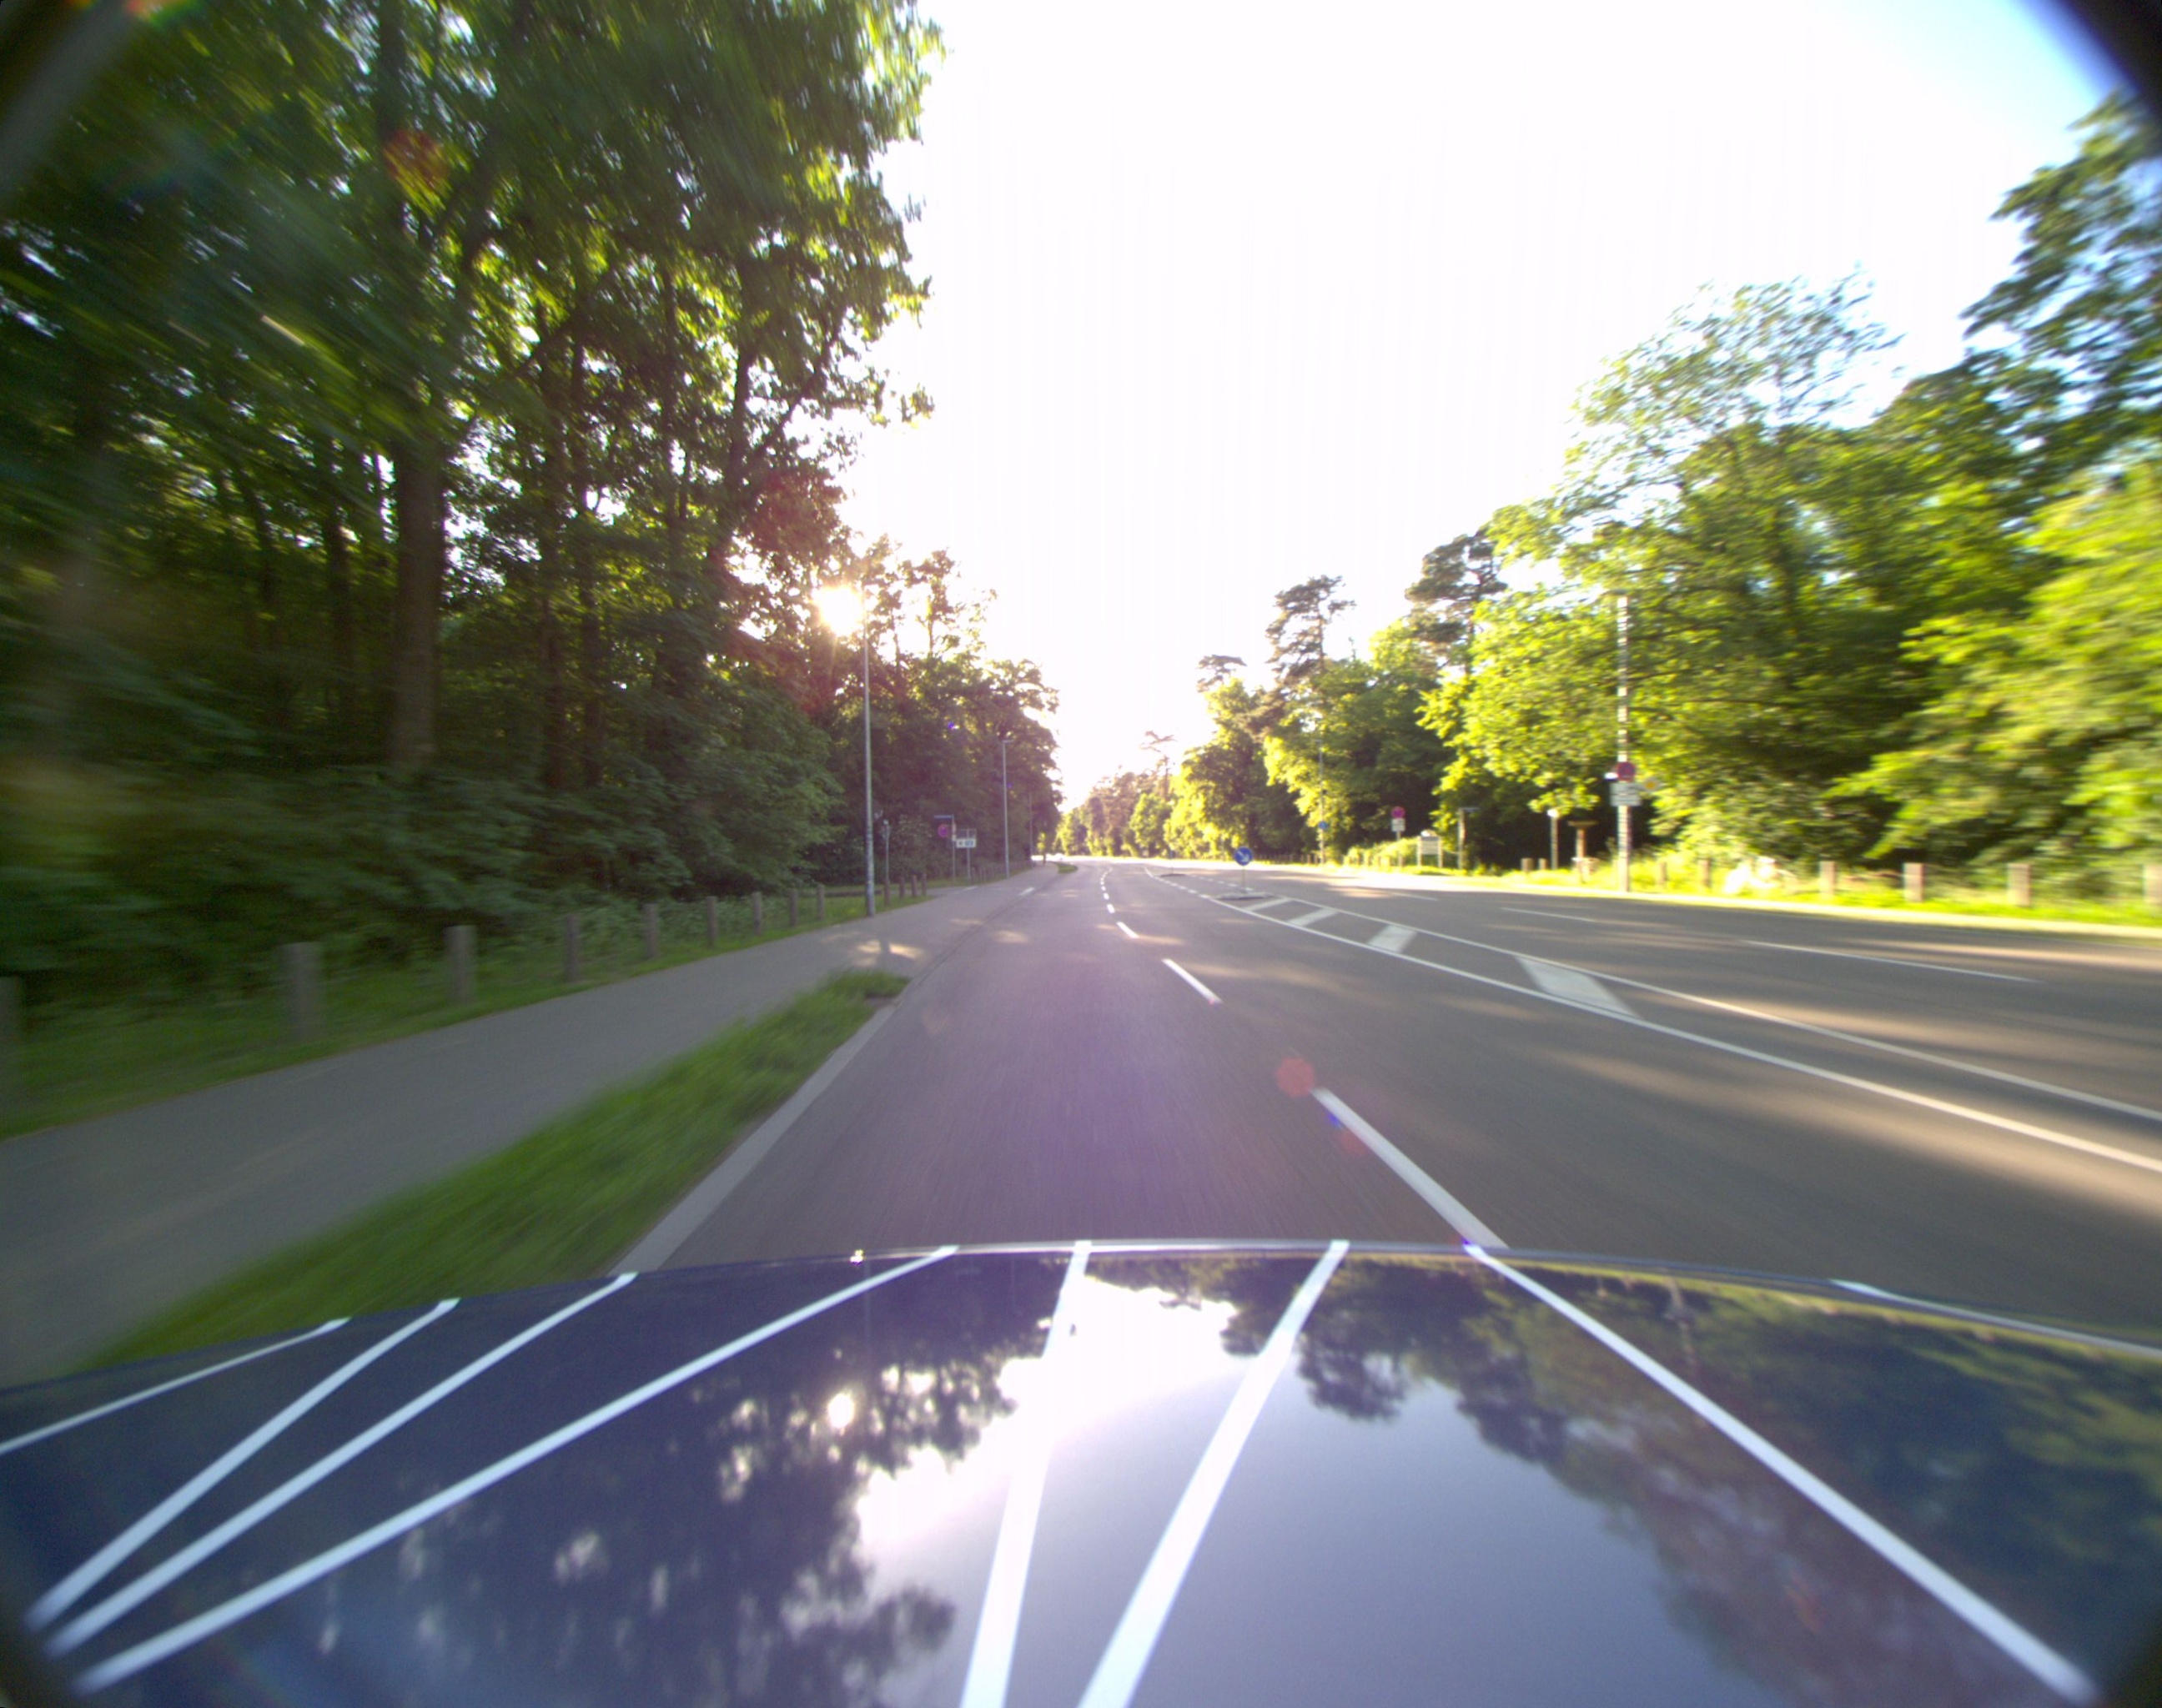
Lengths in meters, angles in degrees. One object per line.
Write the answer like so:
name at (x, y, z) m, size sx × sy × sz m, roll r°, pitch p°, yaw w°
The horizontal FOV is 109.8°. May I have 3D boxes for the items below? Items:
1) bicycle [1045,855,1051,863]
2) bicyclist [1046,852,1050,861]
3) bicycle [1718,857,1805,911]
bicycle at (-4.576, 0.742, 105.450) m, size 0.608 × 1.051 × 2.874 m, roll -2°, pitch 0°, yaw -4°
bicyclist at (-4.558, 0.377, 105.837) m, size 0.514 × 1.260 × 0.497 m, roll -2°, pitch 0°, yaw -4°
bicycle at (15.971, 0.668, 17.904) m, size 0.402 × 1.125 × 2.221 m, roll -3°, pitch 0°, yaw 11°
